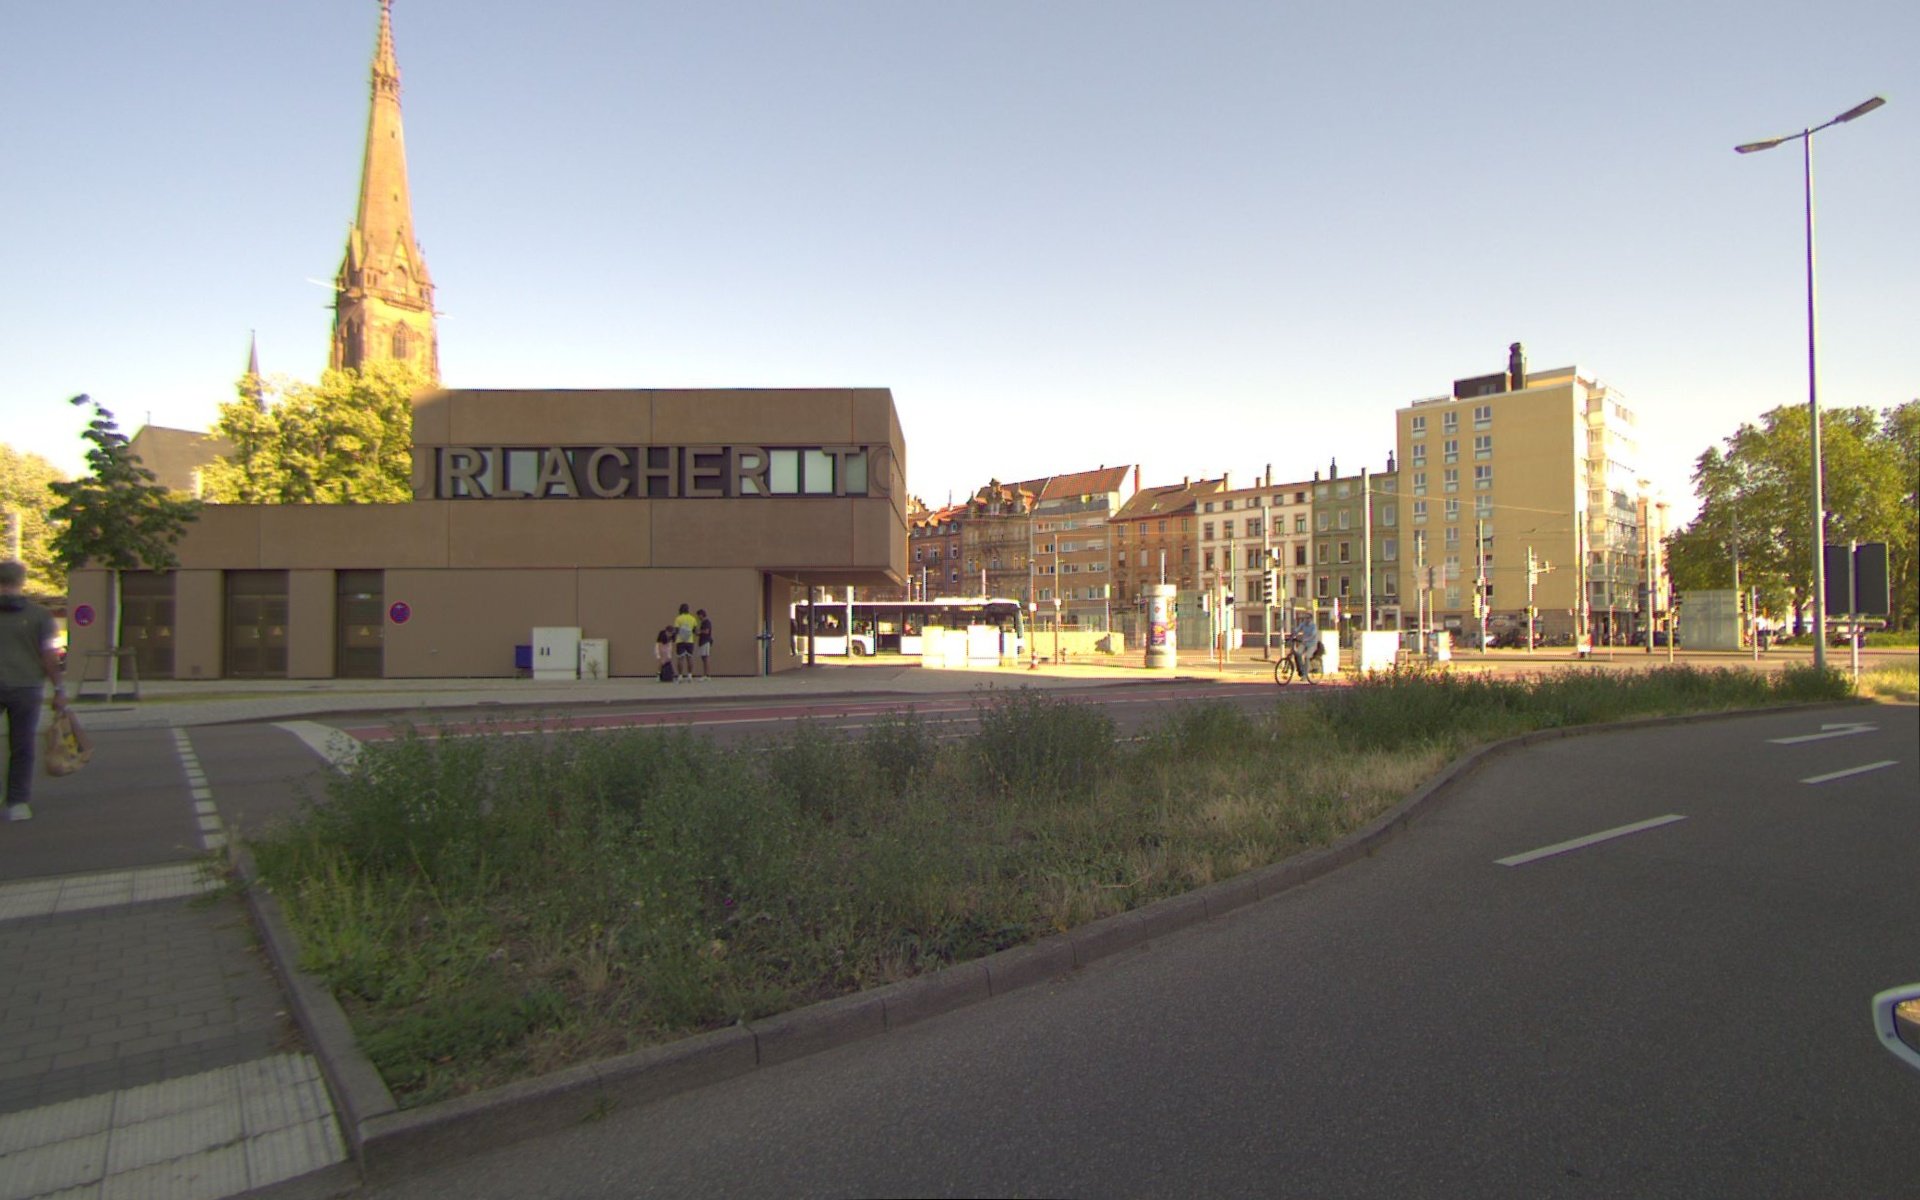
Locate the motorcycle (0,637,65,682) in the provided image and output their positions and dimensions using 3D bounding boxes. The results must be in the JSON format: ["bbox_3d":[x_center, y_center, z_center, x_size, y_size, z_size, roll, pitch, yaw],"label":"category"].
[{"bbox_3d":[-28.115,1.775,29.882,2.310,1.264,0.720,-1,0,1],"label":"motorcycle"}]

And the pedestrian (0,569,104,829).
[{"bbox_3d":[-6.745,0.686,7.254,0.750,1.764,0.918,1,-2,-36],"label":"pedestrian"}]

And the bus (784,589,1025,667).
[{"bbox_3d":[-2.749,1.489,51.765,11.947,3.359,3.252,2,-5,0],"label":"bus"}]

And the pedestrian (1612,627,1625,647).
[{"bbox_3d":[57.153,3.210,87.125,0.777,1.698,0.768,1,-2,-43],"label":"pedestrian"}]

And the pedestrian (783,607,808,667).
[{"bbox_3d":[-5.638,1.268,34.442,0.704,2.007,0.981,-1,-2,0],"label":"pedestrian"}]

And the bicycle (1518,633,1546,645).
[{"bbox_3d":[50.849,3.461,89.244,0.772,1.104,2.022,1,-2,-44],"label":"bicycle"}]

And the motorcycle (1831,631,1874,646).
[{"bbox_3d":[65.519,2.834,73.784,0.681,1.068,2.267,-1,0,-38],"label":"motorcycle"}]

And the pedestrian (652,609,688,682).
[{"bbox_3d":[-7.166,1.115,24.870,0.652,1.754,0.736,-1,0,-1],"label":"pedestrian"}]

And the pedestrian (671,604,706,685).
[{"bbox_3d":[-6.396,1.030,23.668,0.631,1.860,0.714,-1,0,-26],"label":"pedestrian"}]

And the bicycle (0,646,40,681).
[{"bbox_3d":[-30.380,2.003,31.836,1.894,1.057,0.523,0,0,-1],"label":"bicycle"}]

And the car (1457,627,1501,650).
[{"bbox_3d":[43.801,3.261,84.803,1.803,1.771,4.001,-1,0,3],"label":"car"}]

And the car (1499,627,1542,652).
[{"bbox_3d":[46.155,3.198,82.784,1.815,1.882,4.002,-1,0,10],"label":"car"}]

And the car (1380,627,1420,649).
[{"bbox_3d":[39.273,3.383,89.794,2.045,1.742,4.012,-1,0,5],"label":"car"}]

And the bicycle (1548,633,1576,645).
[{"bbox_3d":[52.922,3.416,88.343,0.772,1.104,2.022,1,-2,-44],"label":"bicycle"}]

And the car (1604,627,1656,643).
[{"bbox_3d":[63.410,3.299,95.100,3.943,1.441,1.803,-2,-2,42],"label":"car"}]

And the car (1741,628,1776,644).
[{"bbox_3d":[71.743,3.213,90.260,3.970,1.471,1.830,1,-2,-42],"label":"car"}]

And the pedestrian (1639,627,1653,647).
[{"bbox_3d":[58.497,3.143,85.666,0.777,1.698,0.768,1,-2,-43],"label":"pedestrian"}]

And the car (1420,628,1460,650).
[{"bbox_3d":[41.576,3.328,87.116,1.802,1.742,4.002,-1,0,5],"label":"car"}]

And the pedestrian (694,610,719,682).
[{"bbox_3d":[-6.178,1.108,24.532,0.540,1.711,0.637,-1,0,-13],"label":"pedestrian"}]

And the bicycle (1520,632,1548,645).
[{"bbox_3d":[51.396,3.452,89.924,0.772,1.104,2.022,1,-2,-44],"label":"bicycle"}]

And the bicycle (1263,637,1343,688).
[{"bbox_3d":[8.946,1.601,26.113,2.534,1.271,0.734,2,-2,-39],"label":"bicycle"}]

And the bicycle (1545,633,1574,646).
[{"bbox_3d":[52.366,3.426,87.705,0.772,1.104,2.022,1,-2,-44],"label":"bicycle"}]

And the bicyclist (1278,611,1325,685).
[{"bbox_3d":[8.866,1.235,26.049,1.005,1.856,0.734,2,-2,-39],"label":"bicyclist"}]

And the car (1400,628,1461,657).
[{"bbox_3d":[35.199,3.184,75.219,1.987,2.040,3.697,-1,0,-45],"label":"car"}]
